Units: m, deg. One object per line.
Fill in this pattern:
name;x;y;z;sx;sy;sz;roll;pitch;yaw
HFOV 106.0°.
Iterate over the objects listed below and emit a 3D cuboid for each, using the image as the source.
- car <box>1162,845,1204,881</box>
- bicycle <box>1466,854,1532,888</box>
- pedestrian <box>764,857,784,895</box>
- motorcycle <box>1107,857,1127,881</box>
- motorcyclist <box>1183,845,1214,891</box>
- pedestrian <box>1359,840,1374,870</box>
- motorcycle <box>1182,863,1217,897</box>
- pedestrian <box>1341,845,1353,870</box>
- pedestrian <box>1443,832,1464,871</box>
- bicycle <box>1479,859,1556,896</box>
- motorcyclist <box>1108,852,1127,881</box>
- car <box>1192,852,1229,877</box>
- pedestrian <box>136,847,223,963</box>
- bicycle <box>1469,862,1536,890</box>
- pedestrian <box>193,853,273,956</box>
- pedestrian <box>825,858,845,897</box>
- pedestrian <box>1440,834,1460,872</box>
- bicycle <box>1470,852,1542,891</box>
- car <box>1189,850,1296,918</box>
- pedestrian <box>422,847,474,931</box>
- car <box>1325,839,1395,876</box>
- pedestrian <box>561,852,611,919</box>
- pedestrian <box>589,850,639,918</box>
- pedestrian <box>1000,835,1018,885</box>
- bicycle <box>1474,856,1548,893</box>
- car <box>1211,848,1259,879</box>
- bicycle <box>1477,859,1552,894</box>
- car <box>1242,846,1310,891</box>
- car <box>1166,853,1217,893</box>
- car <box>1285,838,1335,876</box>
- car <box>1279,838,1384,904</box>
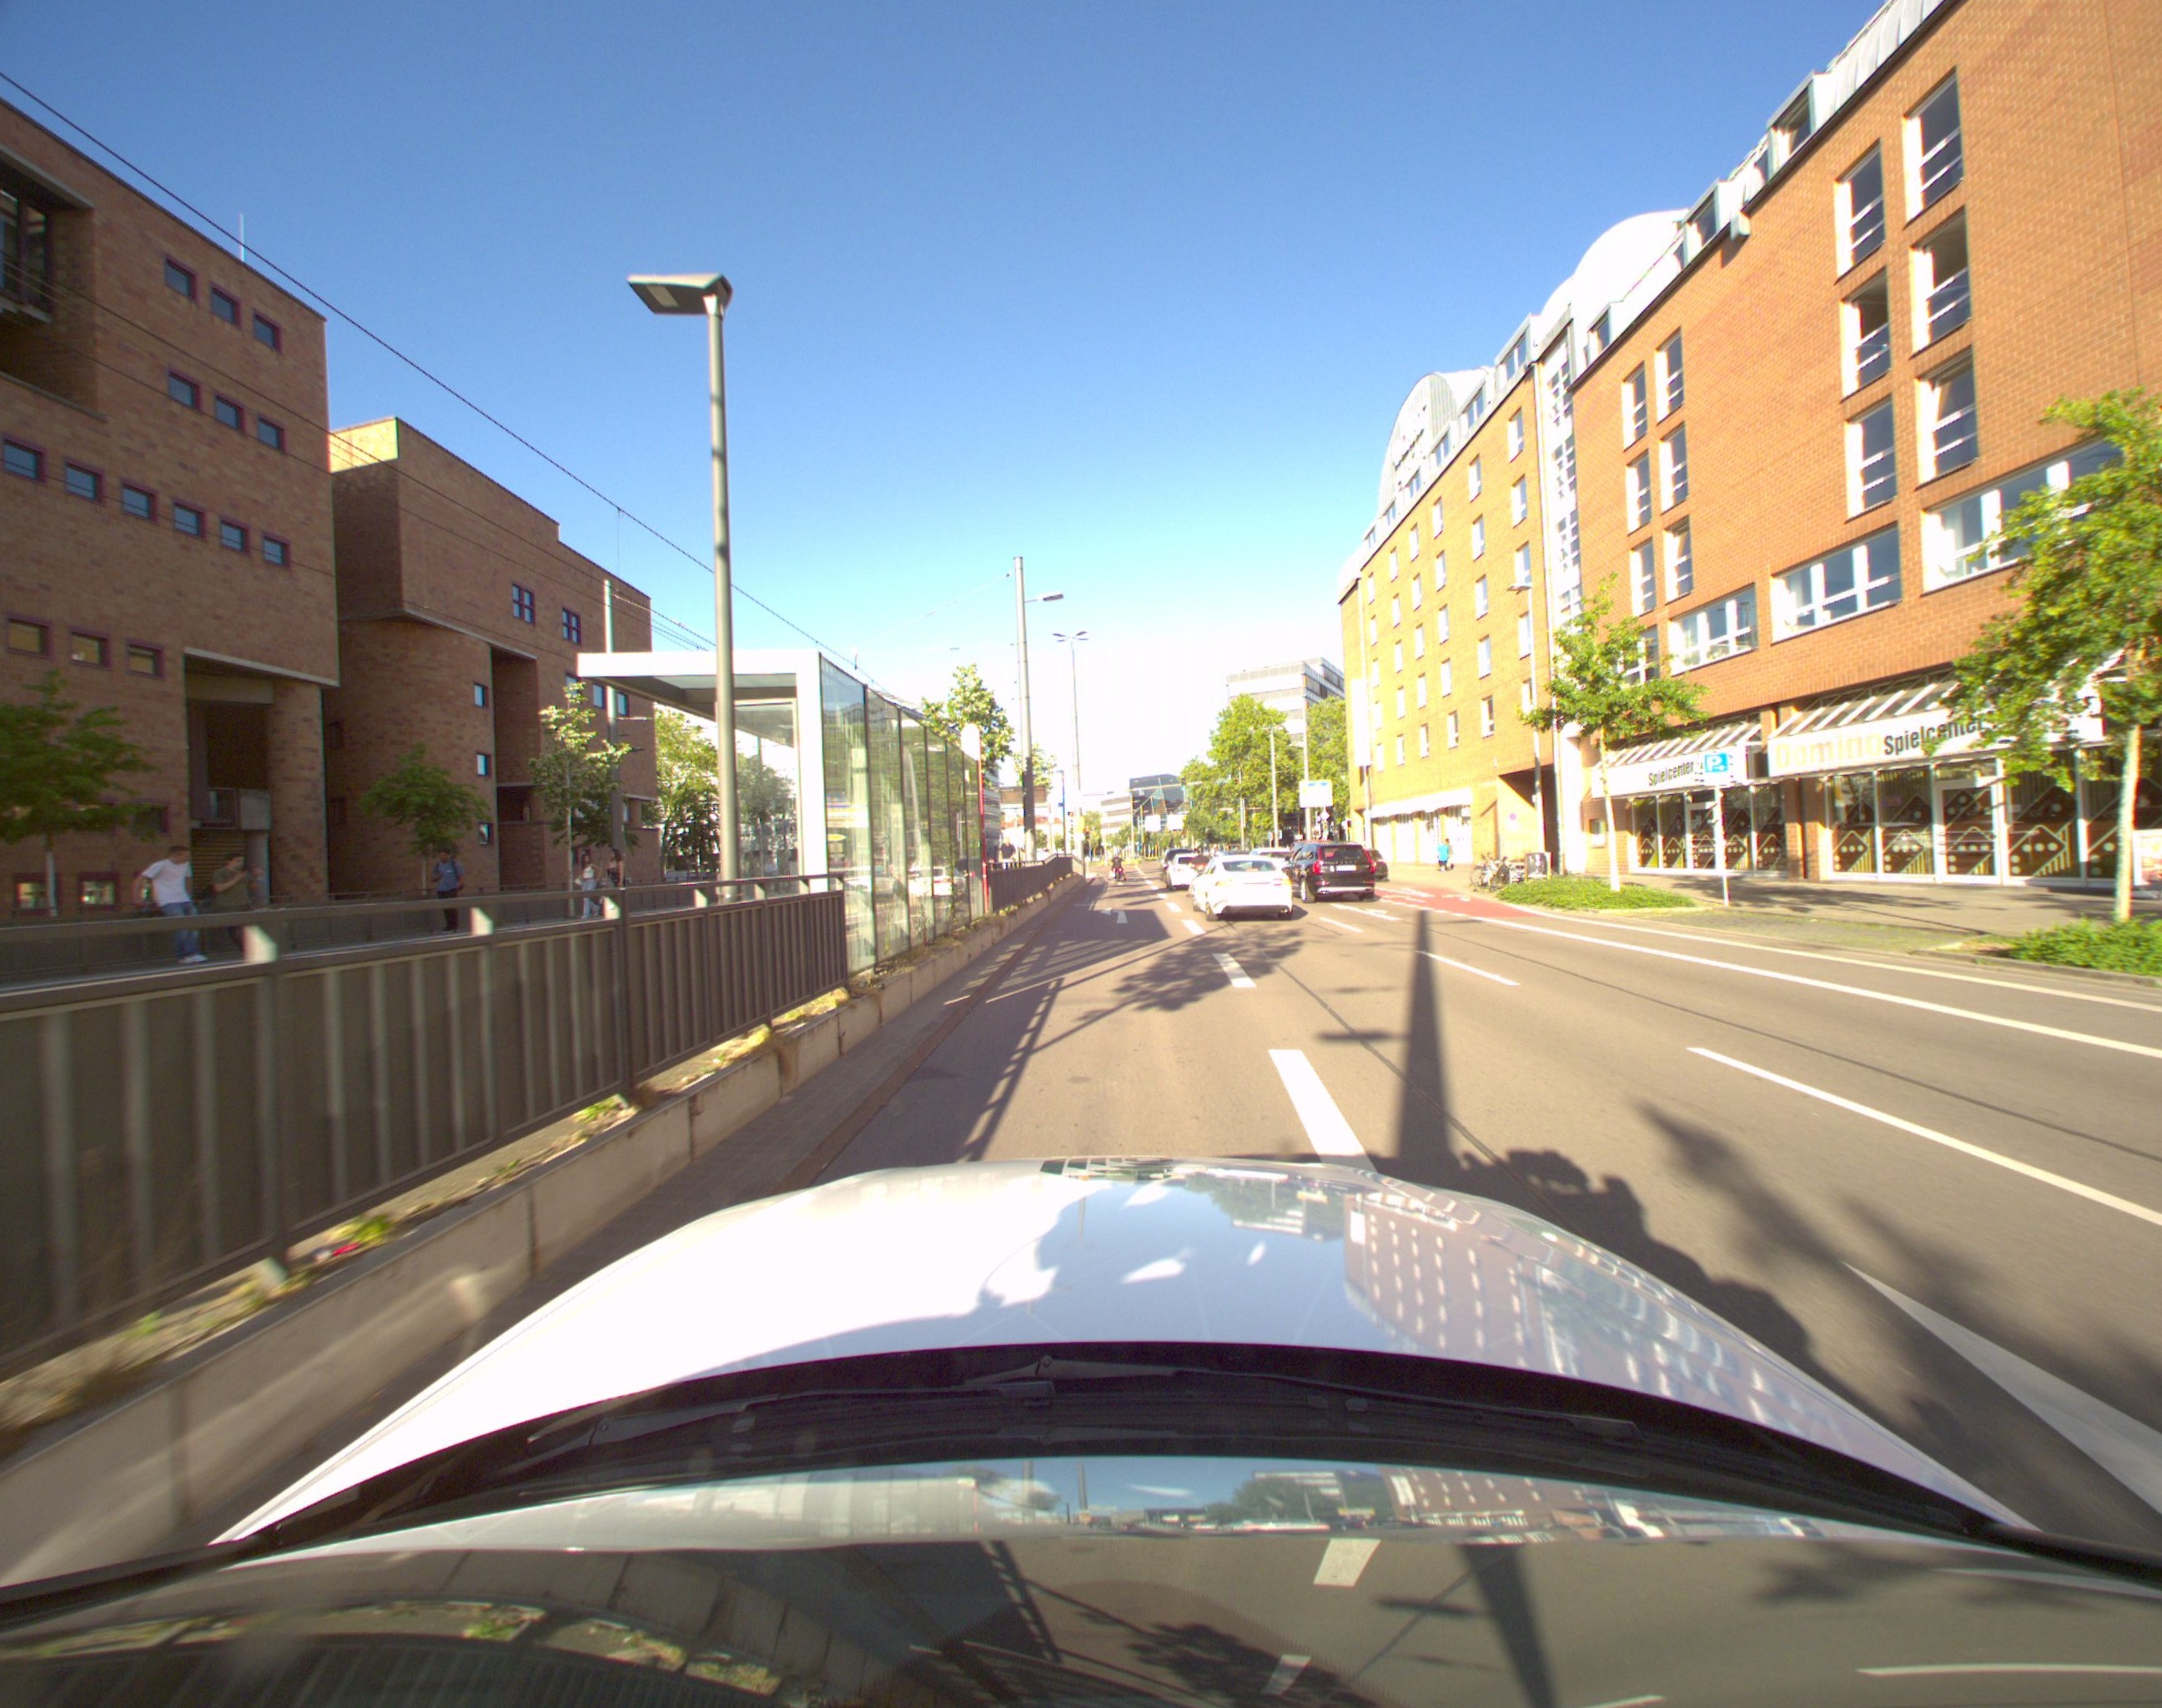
car;5.158;0.450;41.511;1.790;1.705;4.066;-1;0;3
bicycle;14.622;0.584;28.528;1.931;1.074;0.628;-3;-1;14
pedestrian;-13.120;0.933;34.799;0.561;1.609;0.616;-1;-1;3
motorcycle;1.998;0.796;44.552;1.014;1.312;2.917;0;0;3
motorcyclist;3.964;0.462;27.525;0.834;1.475;1.237;-2;0;1
pedestrian;17.872;0.046;50.927;0.604;1.821;0.749;-2;-1;2
motorcycle;3.991;0.852;27.558;0.834;1.062;2.553;-2;0;2
pedestrian;19.765;0.276;60.455;0.604;1.821;0.749;-2;-1;2
pedestrian;17.746;-0.110;38.842;0.604;1.821;0.749;-2;-1;2
bicycle;13.079;0.708;24.455;1.929;1.022;0.504;-4;-1;20
motorcyclist;1.994;0.682;44.598;1.014;1.603;1.149;0;0;3
car;8.422;0.645;53.266;1.843;1.497;4.382;-1;0;3
pedestrian;-13.699;0.759;12.387;0.620;1.715;0.616;-1;-1;3
bicycle;14.037;0.737;27.128;1.926;0.835;0.558;-4;-1;29
pedestrian;-13.690;0.796;13.157;0.620;1.612;0.616;-1;-1;3
pedestrian;-11.821;1.115;39.175;0.611;1.817;0.897;-1;0;3
pedestrian;17.942;-0.060;39.628;0.604;1.821;0.749;-2;-1;2
bicycle;13.645;0.556;26.182;1.931;1.137;0.492;-3;-1;13
car;3.661;0.630;19.256;1.773;1.414;4.822;0;0;3
pedestrian;-13.388;0.734;17.226;0.579;1.738;0.616;-1;-1;3
car;12.538;0.156;36.866;1.839;1.560;4.636;0;0;3
pedestrian;-12.233;0.769;20.148;0.637;1.608;0.946;0;0;3
pedestrian;-11.569;0.718;20.201;0.637;1.643;0.946;0;0;3
pedestrian;-2.470;0.199;27.849;0.517;1.669;0.550;-1;-1;3
bicycle;13.518;0.641;25.664;1.931;1.075;0.556;-3;-1;13
car;8.035;0.471;42.832;1.843;1.497;4.382;-1;0;3
bicycle;13.266;0.701;24.964;1.929;0.969;0.557;-4;-1;20
car;7.797;0.544;32.905;1.843;1.639;4.382;-1;0;3
car;4.394;0.716;32.879;1.685;1.497;4.412;0;0;3
car;12.758;0.141;45.559;1.852;1.961;4.005;-2;0;4
car;7.359;0.470;24.417;1.966;1.759;4.636;0;0;3
